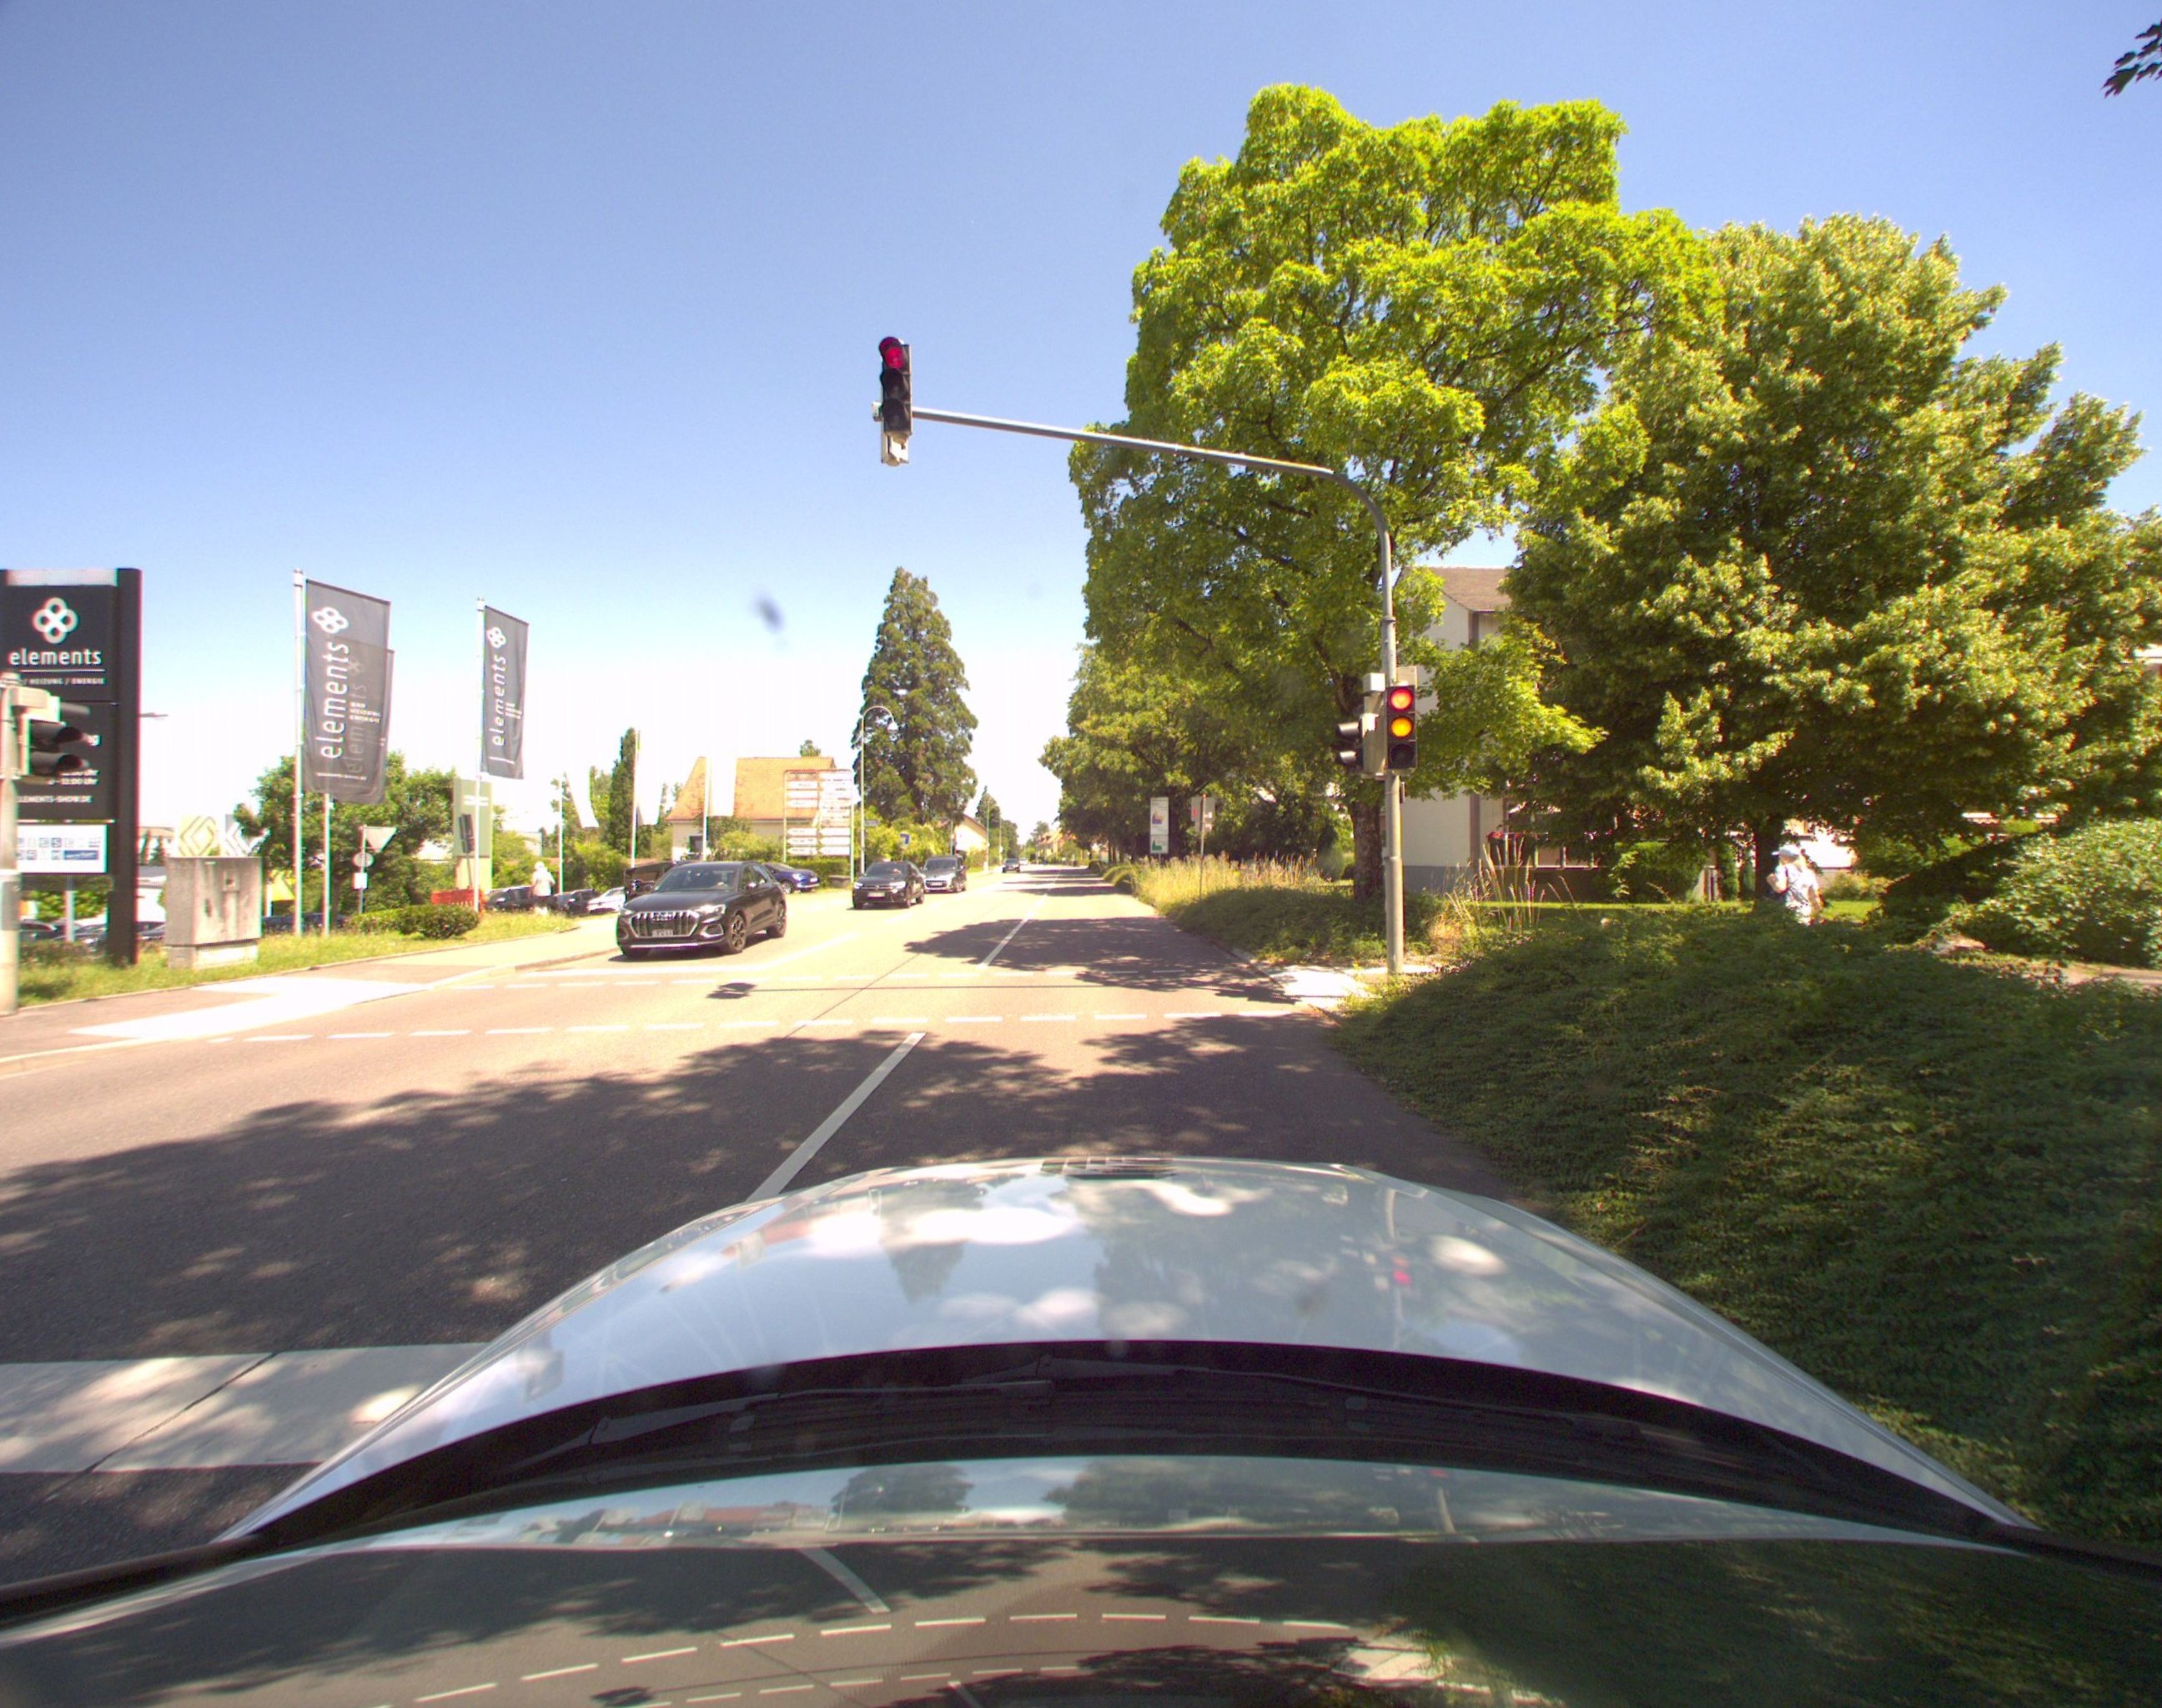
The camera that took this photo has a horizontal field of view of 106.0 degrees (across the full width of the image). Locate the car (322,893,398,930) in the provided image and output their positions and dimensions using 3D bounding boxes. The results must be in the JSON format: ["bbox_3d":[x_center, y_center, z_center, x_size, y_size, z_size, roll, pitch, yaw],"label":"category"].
[{"bbox_3d":[-39.258,3.084,44.443,1.816,1.722,4.059,0,0,-22],"label":"car"}]

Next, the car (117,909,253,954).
[{"bbox_3d":[-36.887,3.154,33.692,1.754,1.486,3.983,-1,0,-12],"label":"car"}]

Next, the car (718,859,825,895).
[{"bbox_3d":[-13.916,1.009,36.691,4.109,1.504,1.782,-1,0,10],"label":"car"}]

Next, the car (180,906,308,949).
[{"bbox_3d":[-34.386,2.988,33.617,1.647,1.415,3.856,-1,0,-8],"label":"car"}]

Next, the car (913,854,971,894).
[{"bbox_3d":[-6.479,0.905,38.451,1.804,1.762,4.571,-1,0,1],"label":"car"}]

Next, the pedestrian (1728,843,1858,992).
[{"bbox_3d":[8.235,0.706,9.451,0.717,1.633,0.849,-1,-1,-7],"label":"pedestrian"}]

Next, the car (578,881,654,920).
[{"bbox_3d":[-23.394,2.286,41.159,1.806,1.722,4.081,0,0,-6],"label":"car"}]

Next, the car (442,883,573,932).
[{"bbox_3d":[-23.070,2.112,32.966,1.795,1.722,4.106,-1,0,16],"label":"car"}]

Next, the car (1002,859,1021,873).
[{"bbox_3d":[-7.843,1.336,92.100,1.788,1.536,4.313,-1,0,-1],"label":"car"}]

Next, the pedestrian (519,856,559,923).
[{"bbox_3d":[-14.406,0.930,21.649,0.538,1.761,0.706,-1,-1,28],"label":"pedestrian"}]

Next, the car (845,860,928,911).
[{"bbox_3d":[-6.313,0.967,26.842,1.864,1.507,4.049,-1,0,-2],"label":"car"}]

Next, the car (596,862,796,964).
[{"bbox_3d":[-6.846,0.942,15.064,1.923,1.555,4.295,-1,0,-5],"label":"car"}]

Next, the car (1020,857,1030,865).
[{"bbox_3d":[-12.140,1.490,177.639,1.907,1.689,4.123,0,0,-1],"label":"car"}]
